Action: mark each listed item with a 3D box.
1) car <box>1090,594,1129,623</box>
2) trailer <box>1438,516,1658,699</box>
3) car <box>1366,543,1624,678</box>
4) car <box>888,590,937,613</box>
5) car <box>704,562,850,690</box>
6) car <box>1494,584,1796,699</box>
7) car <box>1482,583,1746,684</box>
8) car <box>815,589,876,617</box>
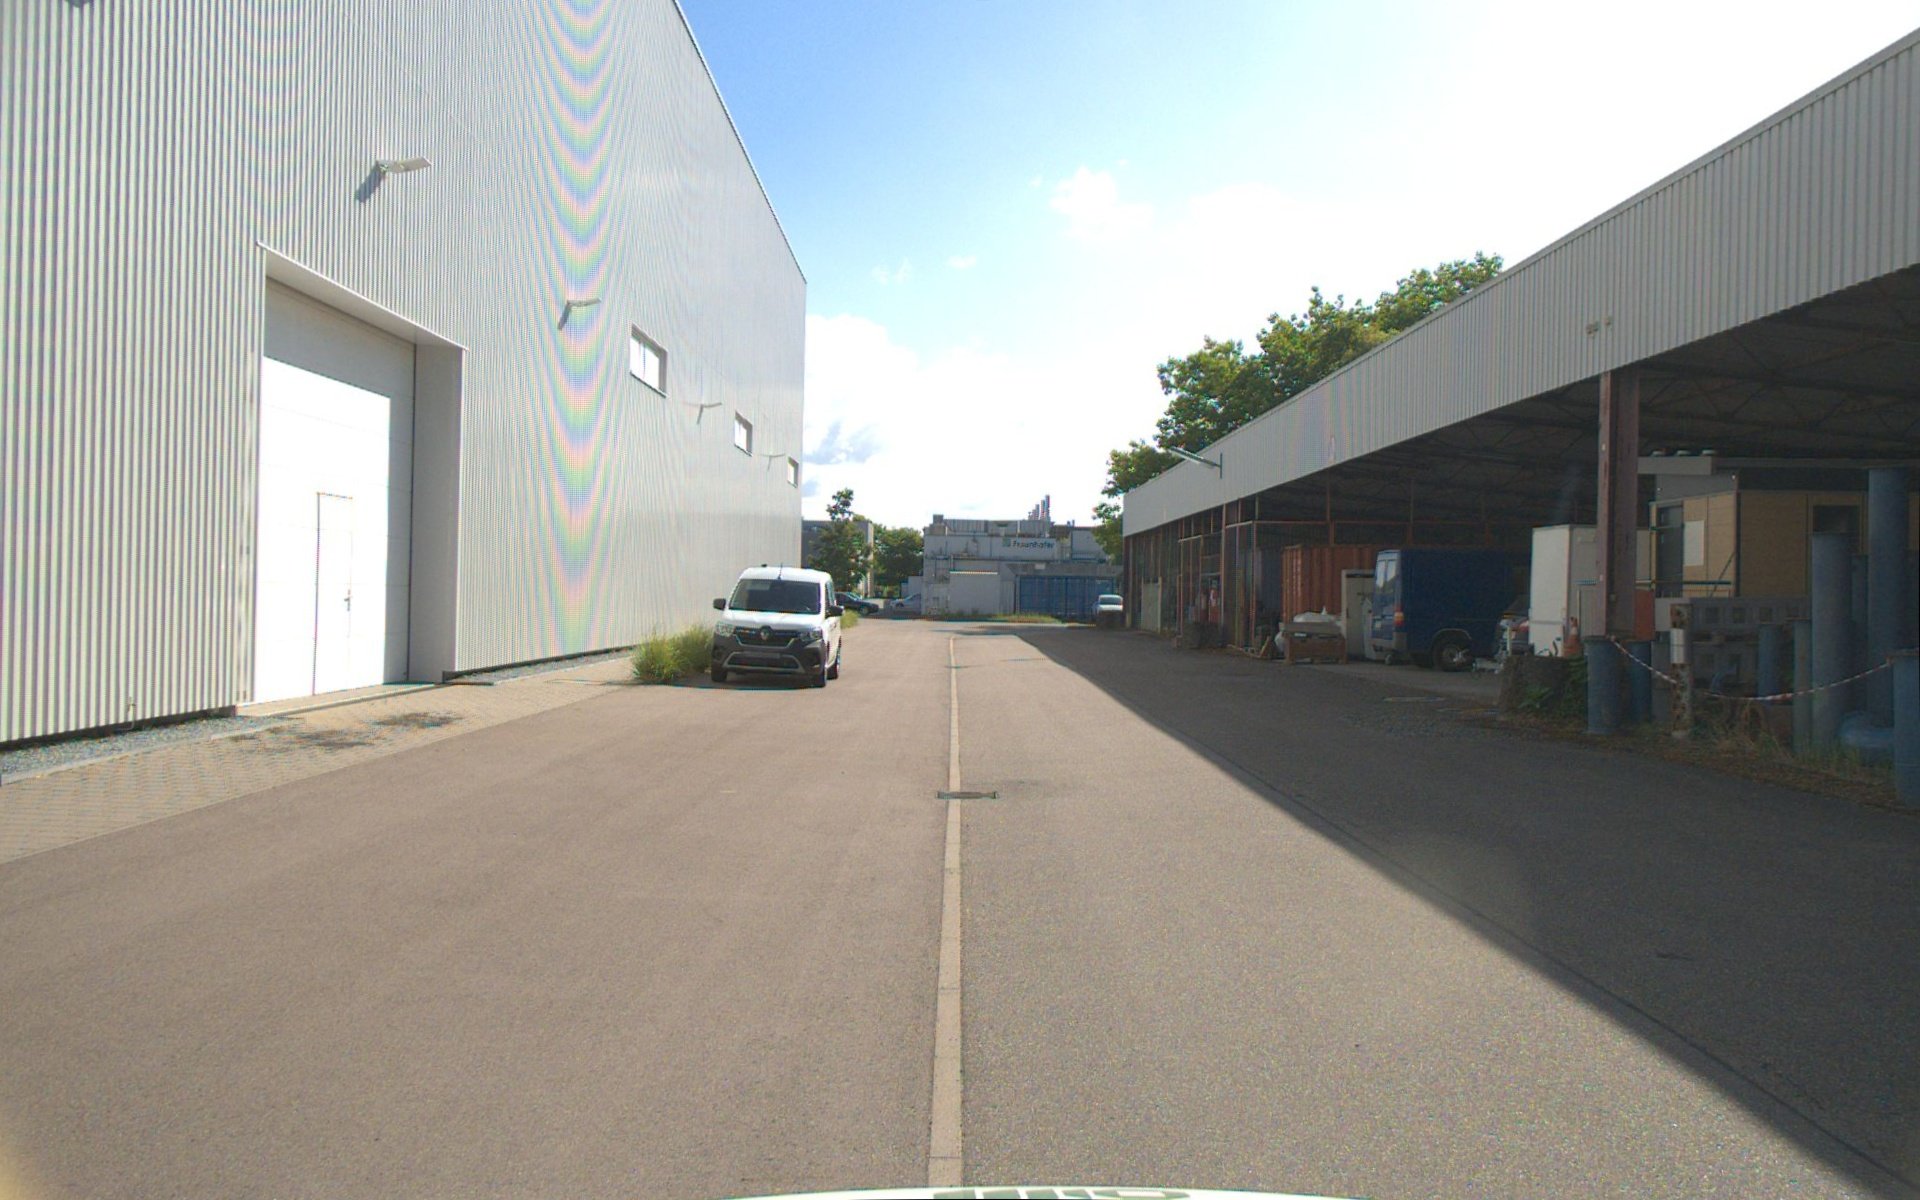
[{"bbox_3d":[8.711,0.478,96.554,1.921,1.592,4.060,2,1,2],"label":"car"},{"bbox_3d":[8.224,0.116,23.293,2.471,2.441,1.727,1,-1,0],"label":"trailer"},{"bbox_3d":[10.306,0.229,32.097,4.342,2.350,1.915,2,-2,0],"label":"car"},{"bbox_3d":[-3.924,0.138,136.740,3.906,1.626,1.847,2,-2,-2],"label":"car"},{"bbox_3d":[-2.850,0.361,26.655,1.781,1.818,4.405,2,0,0],"label":"car"},{"bbox_3d":[10.517,0.646,25.577,3.955,1.551,1.684,2,-2,0],"label":"car"},{"bbox_3d":[11.404,0.596,29.009,3.955,1.551,1.684,2,-2,0],"label":"car"},{"bbox_3d":[-7.521,0.237,108.829,3.906,1.626,1.741,2,-2,-2],"label":"car"}]
